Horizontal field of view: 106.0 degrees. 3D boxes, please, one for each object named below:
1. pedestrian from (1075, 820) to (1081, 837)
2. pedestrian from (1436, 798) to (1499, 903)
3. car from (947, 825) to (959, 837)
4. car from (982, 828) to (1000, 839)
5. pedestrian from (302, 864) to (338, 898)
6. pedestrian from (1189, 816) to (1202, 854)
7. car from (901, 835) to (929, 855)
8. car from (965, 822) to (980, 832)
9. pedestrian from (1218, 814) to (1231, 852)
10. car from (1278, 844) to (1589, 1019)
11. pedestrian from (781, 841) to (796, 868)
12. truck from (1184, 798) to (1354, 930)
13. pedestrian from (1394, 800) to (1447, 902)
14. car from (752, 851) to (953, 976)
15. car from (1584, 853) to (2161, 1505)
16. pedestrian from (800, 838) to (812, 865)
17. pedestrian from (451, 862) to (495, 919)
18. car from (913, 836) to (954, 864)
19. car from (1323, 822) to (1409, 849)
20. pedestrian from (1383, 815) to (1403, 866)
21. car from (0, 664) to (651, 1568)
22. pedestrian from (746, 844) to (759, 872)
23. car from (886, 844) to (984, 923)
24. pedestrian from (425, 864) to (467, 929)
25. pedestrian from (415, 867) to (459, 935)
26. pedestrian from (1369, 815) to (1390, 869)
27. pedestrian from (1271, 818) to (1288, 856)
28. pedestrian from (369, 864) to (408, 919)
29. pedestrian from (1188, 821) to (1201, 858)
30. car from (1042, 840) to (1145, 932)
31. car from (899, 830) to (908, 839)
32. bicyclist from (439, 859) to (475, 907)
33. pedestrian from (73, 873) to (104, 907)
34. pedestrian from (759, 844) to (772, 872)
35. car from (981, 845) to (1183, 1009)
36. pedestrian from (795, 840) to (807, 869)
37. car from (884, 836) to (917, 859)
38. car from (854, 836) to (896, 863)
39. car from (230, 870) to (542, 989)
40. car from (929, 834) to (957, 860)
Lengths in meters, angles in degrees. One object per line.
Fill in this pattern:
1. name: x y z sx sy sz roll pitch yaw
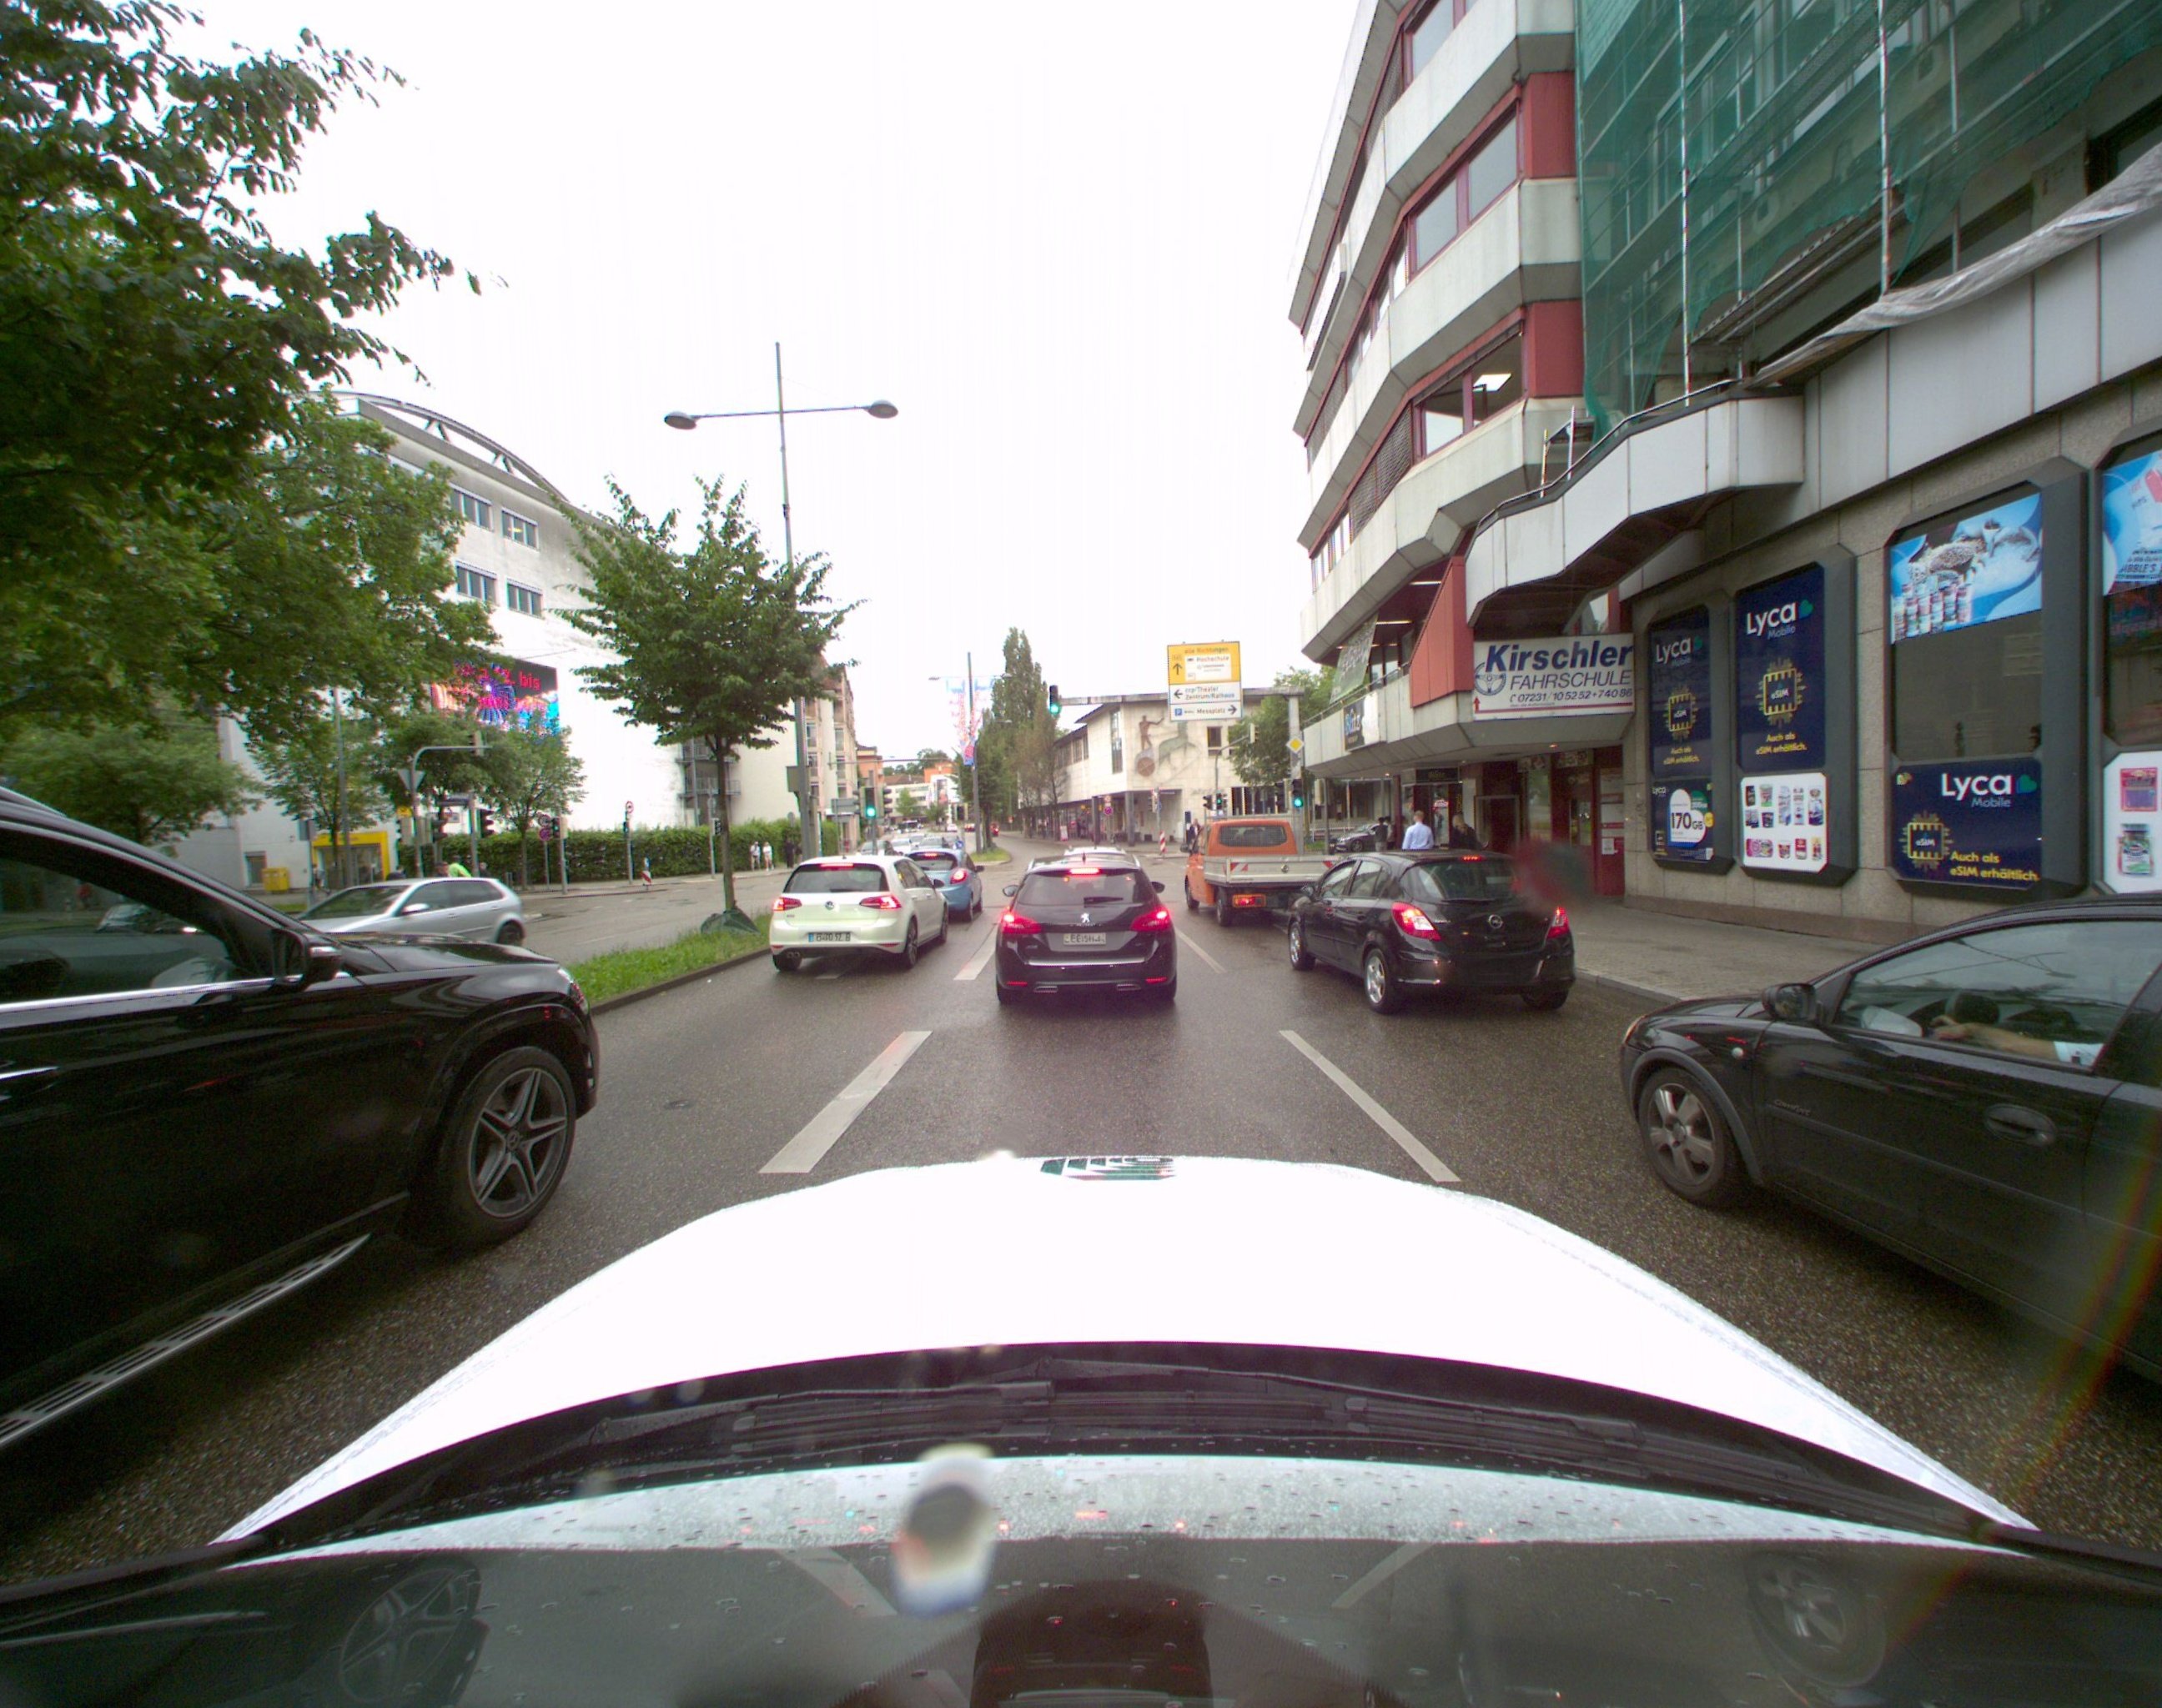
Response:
1. pedestrian: -0.326 -2.581 83.020 0.469 1.748 0.537 0 -1 -19
2. pedestrian: 7.528 -0.063 15.890 0.733 1.934 0.640 -5 -1 1
3. car: -23.129 -4.164 146.890 1.709 1.882 3.979 0 -1 -15
4. car: -12.457 -2.829 112.195 1.790 1.454 4.485 -5 3 -14
5. pedestrian: -36.557 1.282 39.141 1.059 1.578 0.683 -1 -1 -3
6. pedestrian: 5.775 -0.965 41.067 0.633 1.897 0.735 -1 -1 8
7. car: -12.523 -0.697 61.614 1.630 1.486 3.604 -1 1 -4
8. car: -18.804 -4.602 141.531 1.730 1.490 4.703 0 -1 -18
9. pedestrian: 7.270 -1.060 41.280 0.633 1.897 0.735 -1 -1 8
10. car: 3.404 0.619 8.694 1.611 1.429 3.840 -1 1 -1
11. pedestrian: -17.890 0.027 49.754 0.635 1.643 0.733 -1 -1 0
12. truck: 3.440 0.108 16.017 2.170 2.172 5.020 -1 1 0
13. pedestrian: 6.597 -0.059 15.860 0.733 1.935 0.640 -1 -1 1
14. car: -3.032 0.705 11.649 1.772 1.429 3.842 -1 1 0
15. car: 3.266 0.743 2.301 1.600 1.429 3.626 -1 1 3
16. pedestrian: -17.671 -0.154 52.341 0.538 1.748 0.564 -1 -1 -3
17. pedestrian: -18.517 1.095 24.805 0.750 1.661 0.628 -2 2 1
18. car: -8.717 -0.208 48.313 1.739 1.579 3.997 -1 -1 -1
19. car: 13.992 -0.886 40.136 3.669 1.212 1.839 -1 -1 6
20. pedestrian: 10.151 -0.436 26.492 0.395 1.640 0.504 -3 -1 2
21. car: -3.195 0.549 1.639 1.905 1.870 5.073 -1 -1 1
22. pedestrian: -19.049 0.227 47.191 0.579 1.599 0.526 -1 -1 -5
23. car: -3.057 0.555 17.670 1.629 1.486 3.606 -1 1 -3
24. pedestrian: -16.974 1.122 21.780 0.555 1.661 0.580 -2 2 2
25. pedestrian: -16.353 1.178 20.687 0.555 1.661 0.580 -2 2 2
26. pedestrian: 9.583 -0.377 26.171 0.424 1.682 0.450 -3 -1 0
27. pedestrian: 8.751 -0.743 35.946 0.633 1.659 0.735 -1 -1 8
28. pedestrian: -21.861 1.179 25.714 0.637 1.666 0.580 -2 2 1
29. pedestrian: 5.530 -0.683 39.641 0.633 1.758 0.735 -1 -1 8
30. car: 0.259 0.504 15.428 1.690 1.486 3.795 -1 1 2
31. car: -47.274 -5.194 216.917 1.999 2.014 3.976 0 -1 -18
32. bicyclist: -20.230 0.929 26.399 0.629 1.530 0.609 -3 -1 1
33. pedestrian: -48.324 1.746 39.660 0.633 1.643 0.735 -1 -1 8
34. pedestrian: -18.491 0.233 47.769 0.579 1.599 0.526 -1 -1 -5
35. car: 0.103 0.628 9.138 1.770 1.429 3.845 -1 1 3
36. pedestrian: -17.418 0.027 50.638 0.538 1.748 0.745 -1 -1 -7
37. car: -12.062 -0.450 54.529 1.630 1.486 3.604 -1 1 -4
38. car: -11.949 -0.303 47.514 1.569 1.486 3.608 -1 1 -1
39. car: -10.606 1.093 12.841 1.627 1.468 3.752 -4 -3 0
40. car: -9.275 -0.421 55.068 1.743 1.640 3.988 -1 -1 -9
